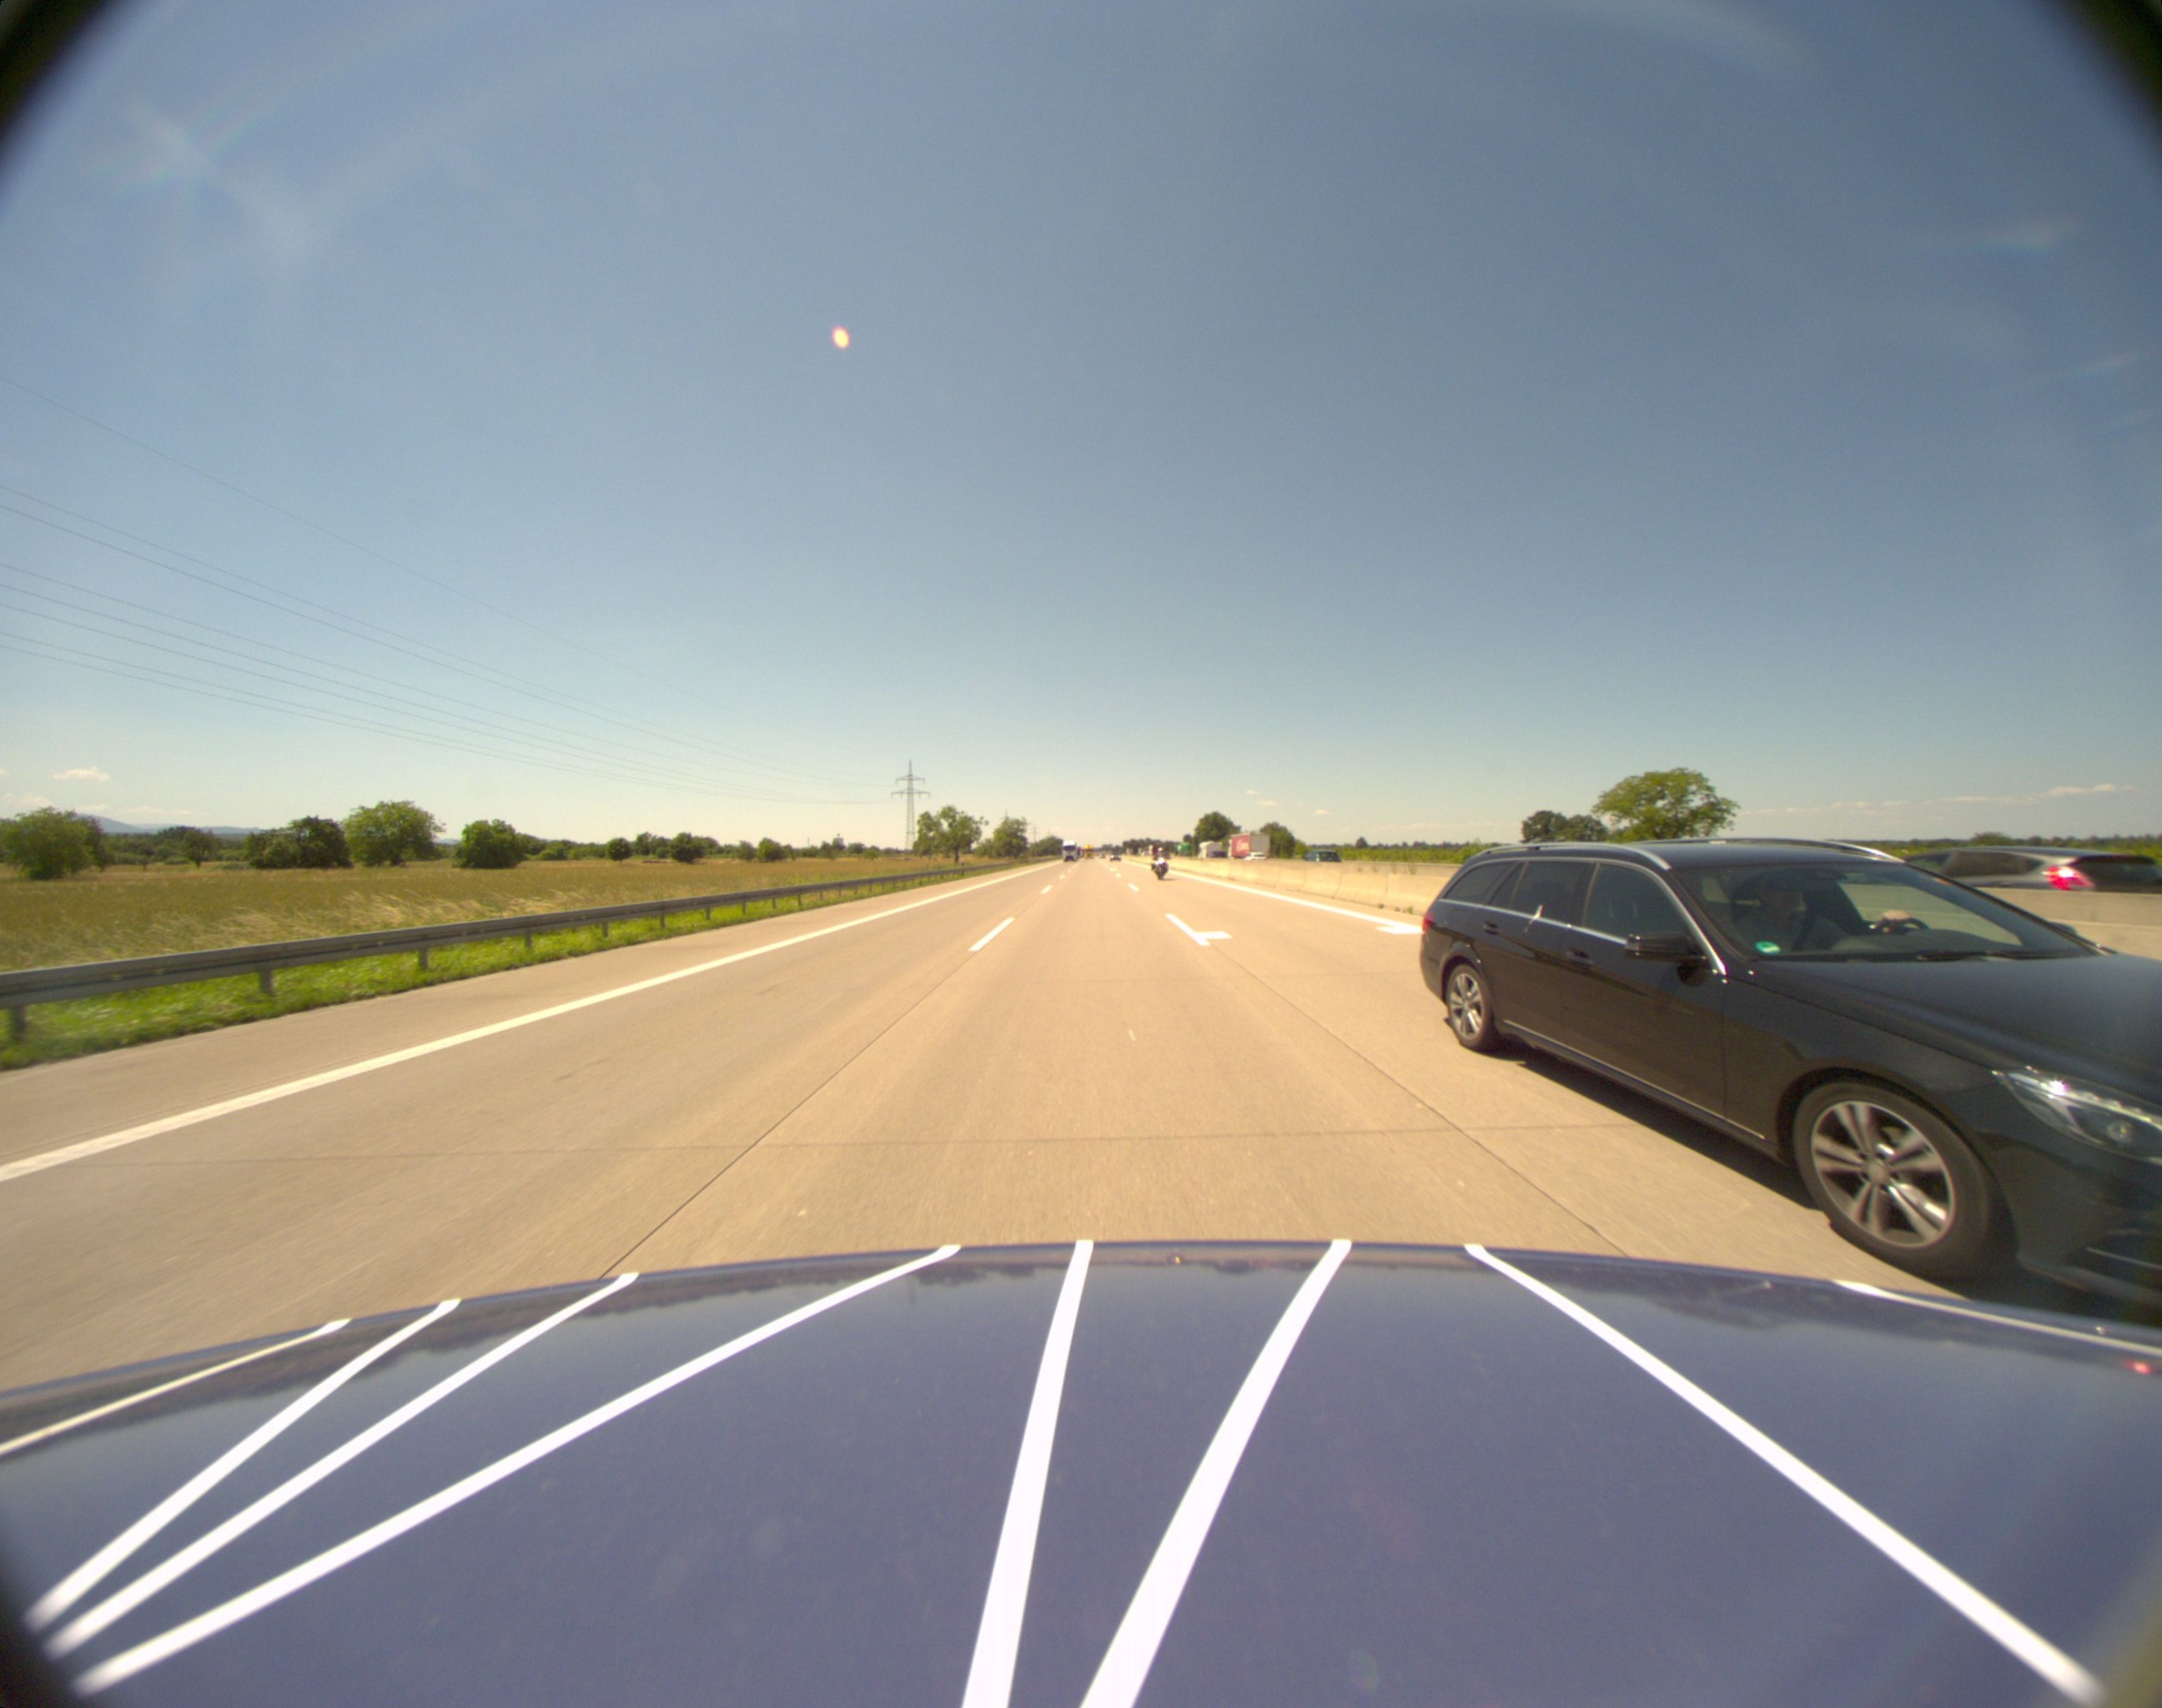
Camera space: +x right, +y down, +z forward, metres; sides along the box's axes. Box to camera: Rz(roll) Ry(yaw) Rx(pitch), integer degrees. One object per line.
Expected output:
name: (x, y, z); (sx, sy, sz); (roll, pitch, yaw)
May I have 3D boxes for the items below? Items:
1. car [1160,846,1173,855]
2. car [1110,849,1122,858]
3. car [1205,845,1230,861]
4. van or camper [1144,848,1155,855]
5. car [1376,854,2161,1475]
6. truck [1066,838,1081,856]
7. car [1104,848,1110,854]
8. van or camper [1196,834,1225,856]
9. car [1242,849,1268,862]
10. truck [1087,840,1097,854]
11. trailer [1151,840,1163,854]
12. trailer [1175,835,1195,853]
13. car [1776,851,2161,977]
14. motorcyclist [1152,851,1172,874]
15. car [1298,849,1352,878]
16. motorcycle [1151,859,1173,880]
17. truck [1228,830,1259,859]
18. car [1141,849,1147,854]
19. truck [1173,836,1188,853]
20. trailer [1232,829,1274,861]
car: (14.612, -0.651, 130.760); (1.798, 1.546, 4.601); (-1, 0, 1)
car: (6.060, -0.130, 132.388); (1.998, 1.518, 4.000); (0, 1, 1)
car: (14.198, -0.093, 79.181); (1.847, 1.606, 4.427); (0, 0, 0)
van or camper: (16.080, -0.684, 179.370); (2.247, 1.683, 5.849); (0, 0, 1)
car: (3.617, 0.760, 4.170); (1.895, 1.465, 5.603); (-1, 0, 1)
truck: (-1.475, -1.424, 151.286); (2.570, 3.514, 10.099); (-1, 0, 1)
car: (7.301, -0.796, 213.209); (1.586, 1.527, 3.611); (0, 1, 1)
van or camper: (18.344, -1.247, 107.934); (2.532, 2.873, 7.936); (-1, 0, -1)
car: (17.750, 0.161, 77.646); (1.692, 1.256, 4.791); (-1, 0, 1)
truck: (3.219, -2.007, 219.873); (2.570, 3.711, 10.099); (-1, 0, 1)
trailer: (24.910, -2.399, 250.057); (2.809, 4.511, 13.234); (-1, 0, 1)
trailer: (23.648, -2.182, 173.642); (2.742, 3.855, 11.102); (-1, 0, -2)
car: (12.916, 0.709, 11.137); (1.761, 1.488, 4.080); (0, 1, 1)
motorcyclist: (4.313, 0.437, 40.495); (1.027, 1.202, 0.911); (-1, 1, 2)
car: (13.408, 0.499, 42.045); (1.692, 1.535, 4.338); (-1, 0, 1)
motorcycle: (4.304, 0.800, 40.530); (1.023, 1.042, 2.413); (-1, 0, 2)
truck: (22.990, -1.332, 107.797); (3.007, 3.959, 7.295); (-1, 0, 1)
car: (20.230, -0.834, 243.841); (1.628, 1.392, 4.546); (-1, 0, 1)
truck: (23.502, -2.242, 179.479); (2.751, 3.860, 6.203); (-1, 0, -1)
trailer: (22.889, -1.135, 101.875); (3.007, 3.959, 12.341); (-1, 0, 1)
